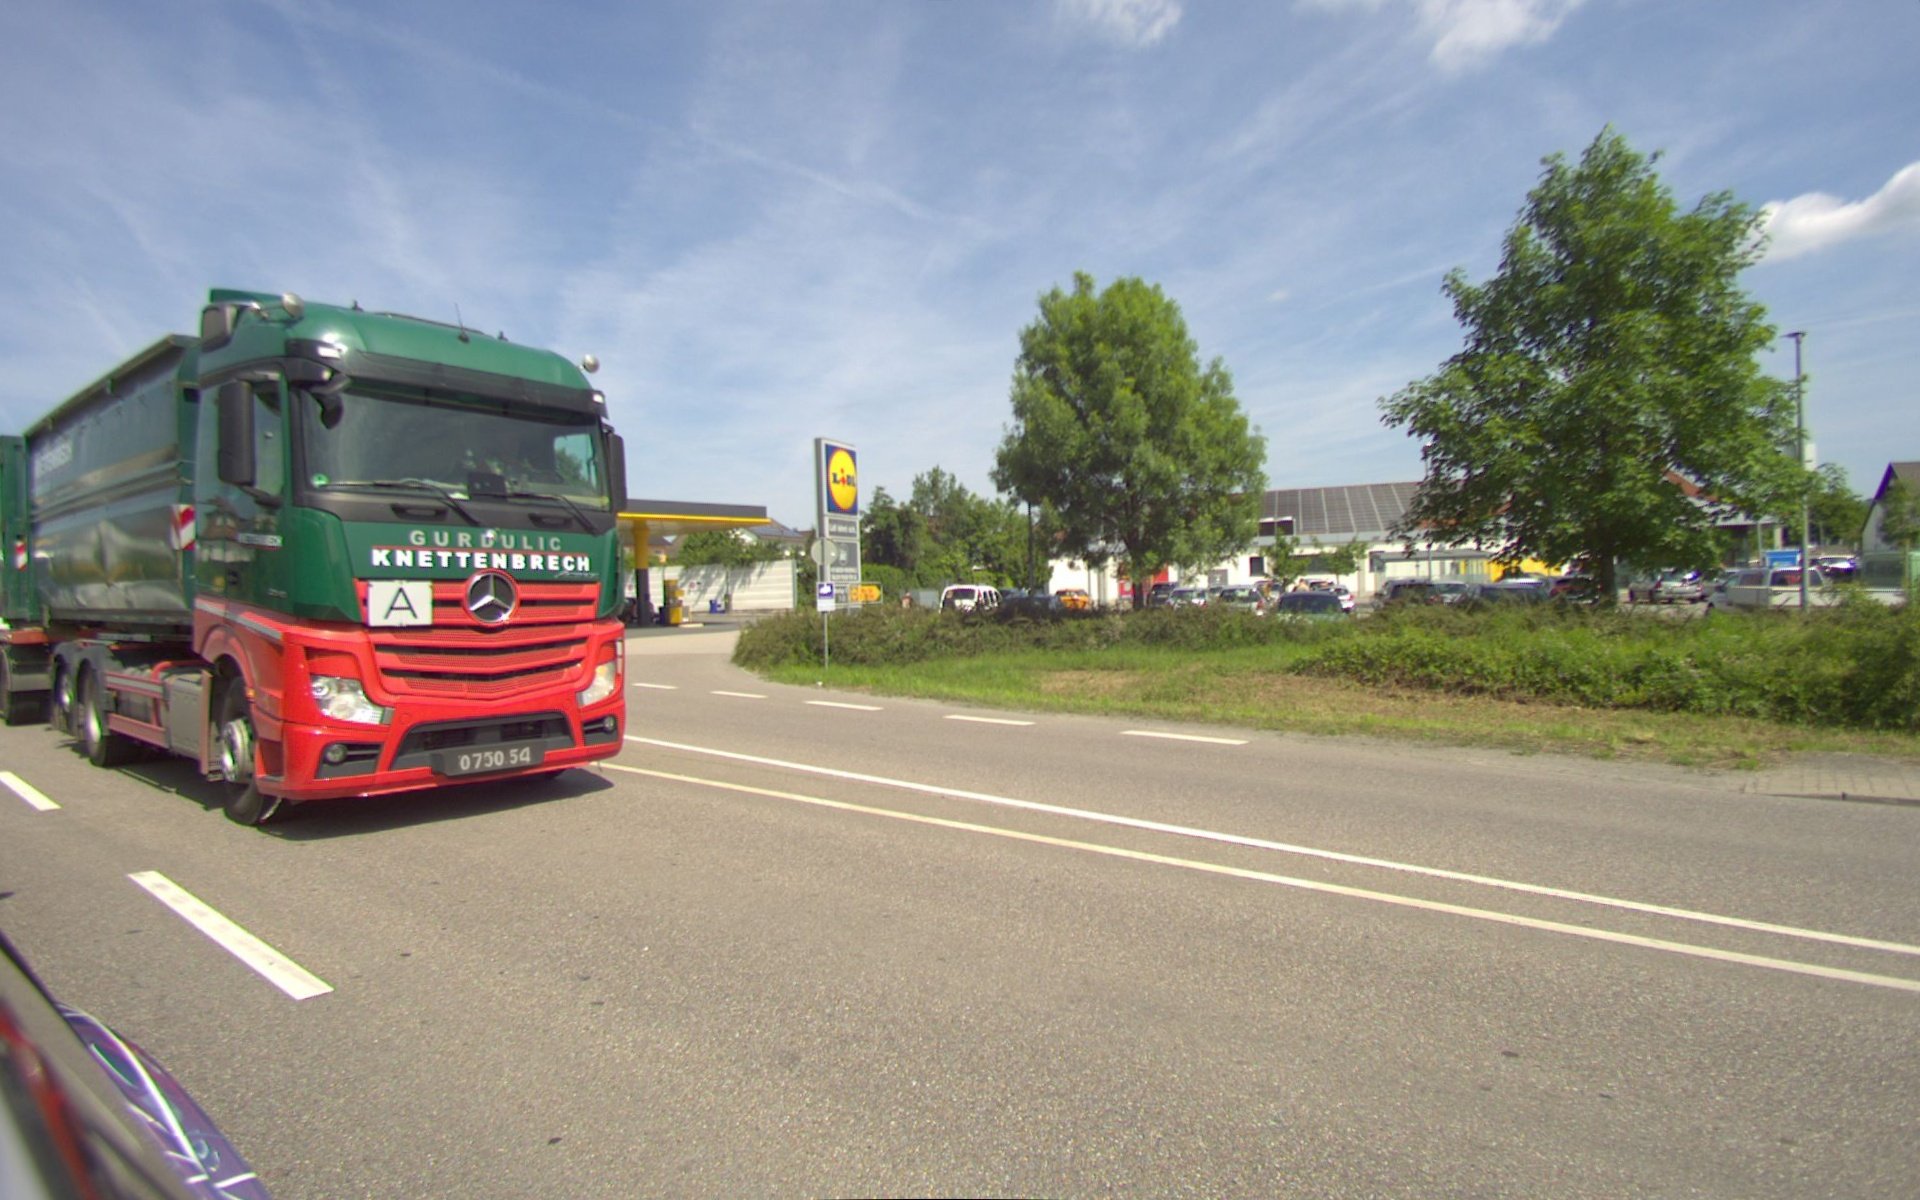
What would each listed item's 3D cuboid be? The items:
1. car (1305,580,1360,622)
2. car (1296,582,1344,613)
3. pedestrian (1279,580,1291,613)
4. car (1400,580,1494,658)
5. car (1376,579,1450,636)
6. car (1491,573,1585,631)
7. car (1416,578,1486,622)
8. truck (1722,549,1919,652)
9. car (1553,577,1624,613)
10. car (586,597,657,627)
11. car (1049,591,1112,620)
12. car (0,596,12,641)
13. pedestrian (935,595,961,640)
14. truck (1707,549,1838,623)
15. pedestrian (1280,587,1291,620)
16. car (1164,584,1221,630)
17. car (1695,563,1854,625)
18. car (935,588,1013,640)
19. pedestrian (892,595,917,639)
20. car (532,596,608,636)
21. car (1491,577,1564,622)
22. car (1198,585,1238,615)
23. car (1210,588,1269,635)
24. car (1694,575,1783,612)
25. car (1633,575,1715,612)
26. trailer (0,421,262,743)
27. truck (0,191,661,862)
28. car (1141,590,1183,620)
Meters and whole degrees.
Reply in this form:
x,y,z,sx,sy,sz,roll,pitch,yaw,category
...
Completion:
x,y,z,sx,sy,sz,roll,pitch,yaw,category
14.269,0.027,38.933,1.764,1.540,3.977,0,0,17,car
17.951,-0.166,50.563,1.868,1.453,3.981,-1,1,15,car
15.327,-0.153,47.669,0.501,1.564,0.514,-1,0,16,pedestrian
11.418,0.402,23.940,1.683,1.670,3.971,0,0,22,car
14.661,0.210,32.934,1.898,1.687,3.974,-1,1,20,car
18.206,0.056,32.052,1.912,1.701,3.973,0,0,20,car
18.326,-0.008,37.928,1.764,1.540,3.977,0,0,17,car
22.896,-0.007,24.771,6.290,2.393,2.238,-1,-1,15,truck
28.462,-0.234,45.989,1.865,1.553,4.231,0,0,20,car
-19.328,0.683,57.763,3.862,1.625,1.735,-1,-1,31,car
6.509,0.284,54.309,1.879,1.453,3.958,-1,1,31,car
-60.444,1.201,62.146,5.972,2.674,2.099,-2,0,35,car
-0.422,0.611,35.996,0.801,1.587,0.701,-1,0,13,pedestrian
27.868,-0.459,34.884,1.981,2.383,3.982,-1,0,14,truck
15.593,0.178,48.489,0.502,1.564,0.514,-1,0,21,pedestrian
9.333,0.238,40.477,1.850,1.688,4.399,-1,0,17,car
24.214,-0.159,30.323,1.981,1.708,4.408,-1,0,14,car
0.588,0.487,38.718,1.865,1.825,4.145,-1,0,17,car
-2.016,0.615,36.779,0.692,1.587,0.812,-1,-1,-20,pedestrian
-17.770,0.783,46.073,4.001,1.741,1.713,-2,-3,44,car
20.581,-0.026,36.854,1.767,1.540,3.972,0,0,21,car
13.308,-0.023,52.227,1.868,1.453,3.981,-1,1,15,car
9.879,0.367,35.594,1.769,1.513,4.122,-1,1,18,car
33.911,-0.279,44.213,1.865,1.553,4.231,0,0,20,car
31.496,-0.276,44.757,1.865,1.553,4.231,0,0,20,car
-14.228,-0.136,16.200,8.661,3.950,2.773,-2,-1,40,trailer
-7.085,-0.333,10.190,10.040,3.950,2.641,-2,-1,40,truck
10.463,0.232,52.286,1.868,1.453,3.981,-1,1,15,car
